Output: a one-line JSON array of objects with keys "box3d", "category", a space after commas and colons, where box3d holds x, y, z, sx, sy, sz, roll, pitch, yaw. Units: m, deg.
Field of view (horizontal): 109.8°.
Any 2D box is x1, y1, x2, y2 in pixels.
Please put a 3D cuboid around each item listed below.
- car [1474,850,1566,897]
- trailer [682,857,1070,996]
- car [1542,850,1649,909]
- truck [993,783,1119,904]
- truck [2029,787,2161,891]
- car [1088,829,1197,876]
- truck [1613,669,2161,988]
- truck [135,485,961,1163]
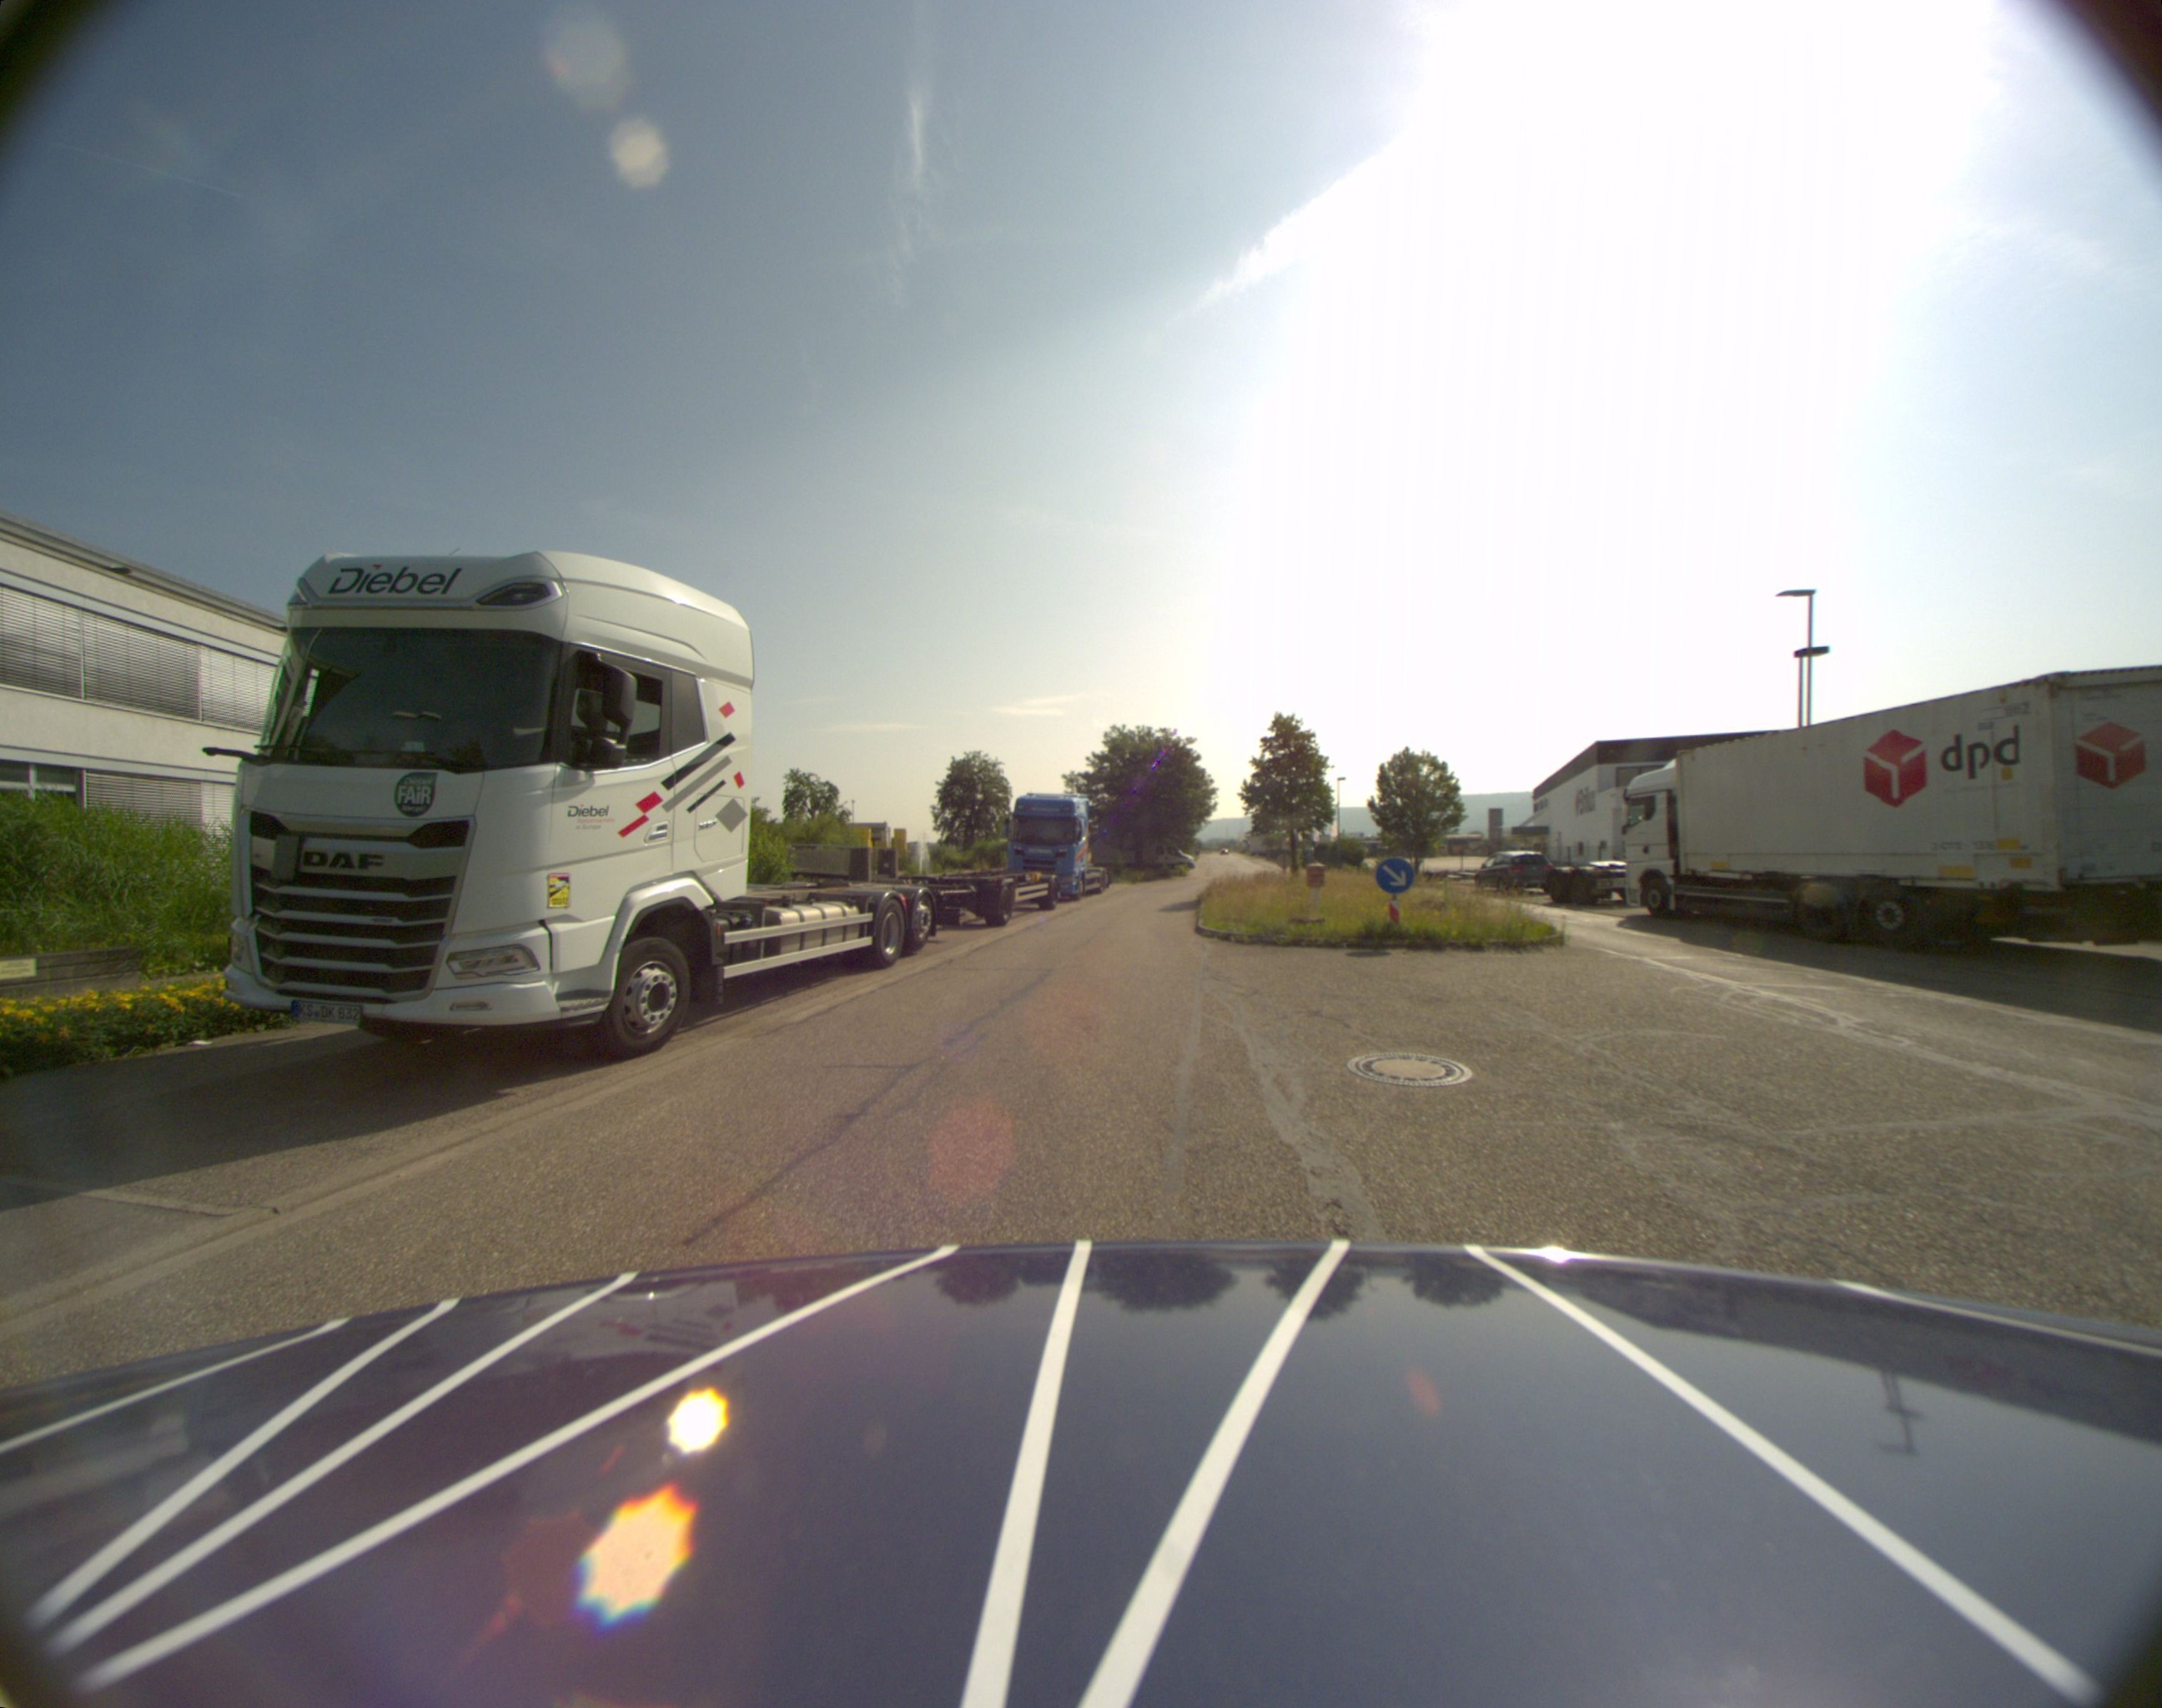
[{"box3d": [16.705, 0.692, 29.151, 1.734, 1.573, 3.969, -2, 0, 9], "category": "car"}, {"box3d": [-2.761, 0.925, 16.628, 2.551, 1.383, 14.144, 1, 1, 9], "category": "trailer"}, {"box3d": [15.406, 0.716, 22.914, 1.440, 1.598, 3.170, -2, 0, 9], "category": "car"}, {"box3d": [-0.572, -0.367, 29.977, 3.041, 3.917, 10.584, 0, 1, 8], "category": "truck"}, {"box3d": [44.724, -0.623, 31.762, 2.901, 4.032, 9.255, 0, 1, 28], "category": "truck"}, {"box3d": [4.753, -0.122, 58.981, 8.145, 3.217, 2.665, -2, 1, 4], "category": "car"}, {"box3d": [14.173, -0.401, 14.139, 2.782, 3.831, 10.068, -3, 0, 10], "category": "truck"}, {"box3d": [-4.030, -0.251, 8.876, 2.557, 3.959, 8.586, 1, 1, 9], "category": "truck"}]
